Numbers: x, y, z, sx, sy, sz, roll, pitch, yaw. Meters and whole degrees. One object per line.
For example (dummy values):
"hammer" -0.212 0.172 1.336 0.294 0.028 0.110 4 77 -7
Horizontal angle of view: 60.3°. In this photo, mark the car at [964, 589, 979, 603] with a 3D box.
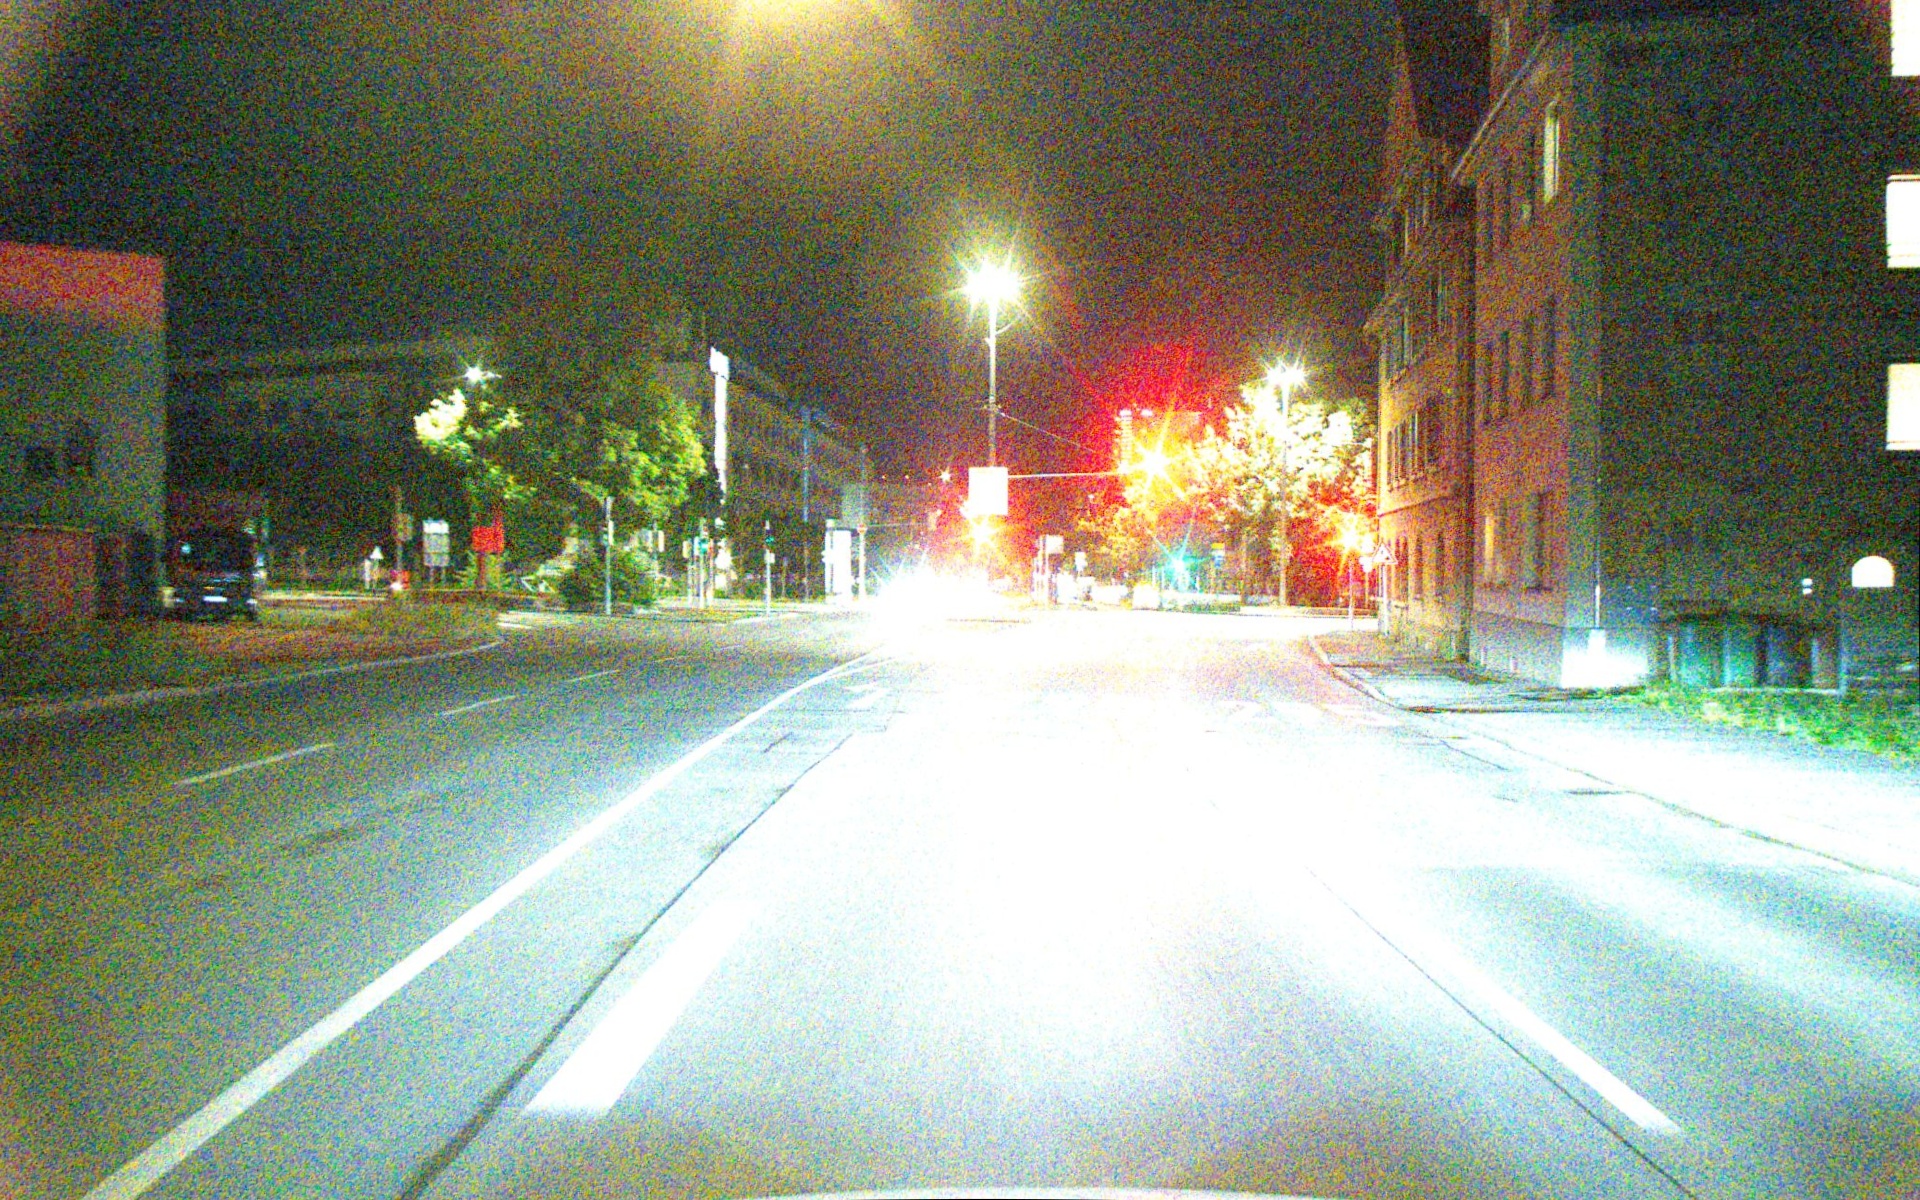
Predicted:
"car" 1.538 -0.513 211.645 1.721 1.758 3.549 1 0 3

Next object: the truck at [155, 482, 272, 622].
"truck" -22.814 -1.356 50.933 2.898 3.863 9.491 1 0 -23

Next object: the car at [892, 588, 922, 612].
"car" -3.497 -0.011 109.150 1.582 1.541 4.002 1 0 4

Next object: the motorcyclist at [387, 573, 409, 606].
"motorcyclist" -21.847 -0.417 64.287 0.642 1.283 0.571 1 0 -39

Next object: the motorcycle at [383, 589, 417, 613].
"motorcycle" -21.869 0.043 64.555 0.574 0.911 2.125 -2 2 -38

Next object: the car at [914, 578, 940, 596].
"car" -2.486 -0.999 126.196 1.721 1.345 3.549 1 0 3

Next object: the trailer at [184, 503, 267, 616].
"trailer" -26.876 -1.408 60.504 2.580 3.857 6.464 1 0 -25
